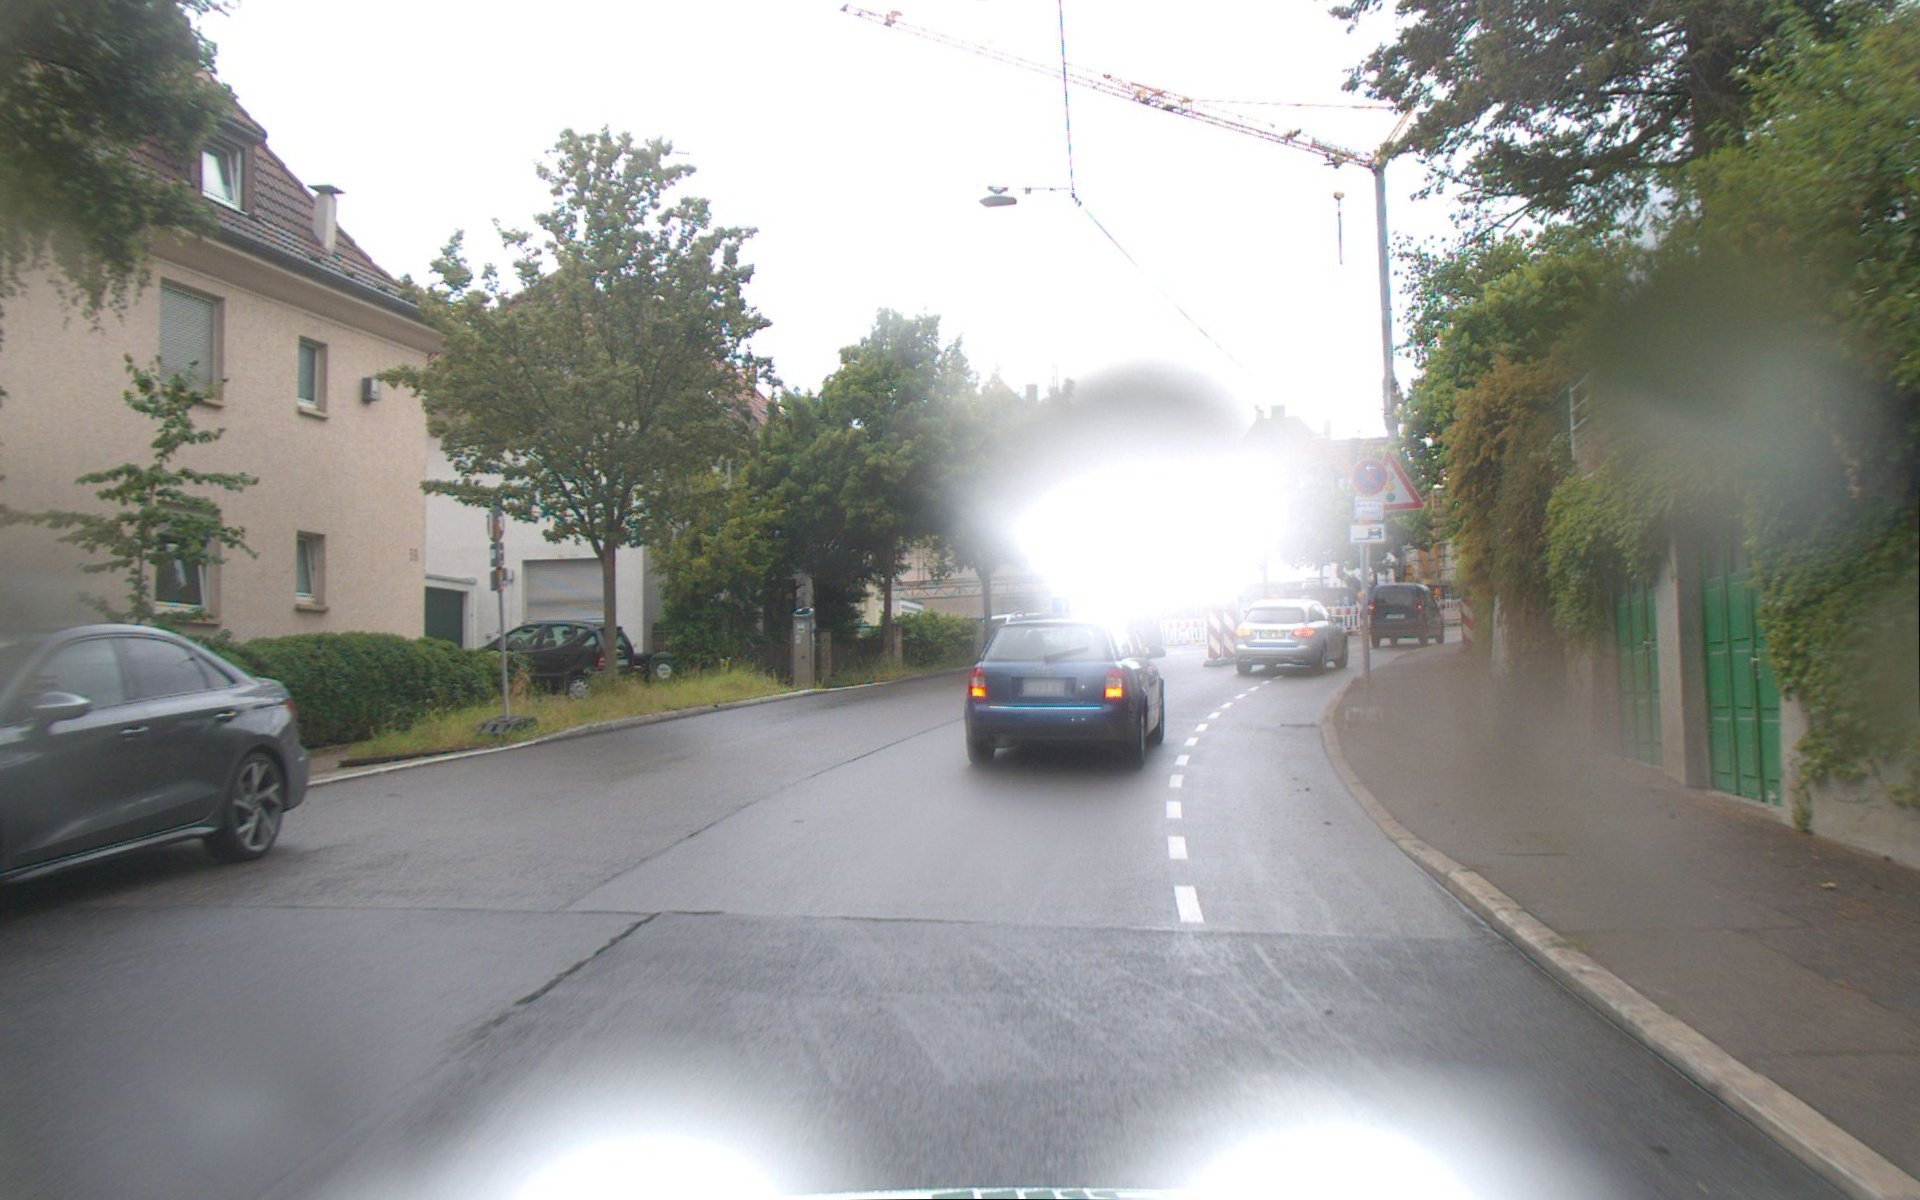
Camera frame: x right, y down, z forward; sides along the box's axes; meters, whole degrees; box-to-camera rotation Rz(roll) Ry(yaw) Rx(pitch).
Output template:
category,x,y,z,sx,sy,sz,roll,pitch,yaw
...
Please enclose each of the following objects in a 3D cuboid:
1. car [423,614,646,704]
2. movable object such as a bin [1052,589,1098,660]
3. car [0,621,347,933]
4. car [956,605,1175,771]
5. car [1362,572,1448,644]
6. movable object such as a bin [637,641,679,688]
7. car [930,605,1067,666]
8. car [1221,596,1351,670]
category,x,y,z,sx,sy,sz,roll,pitch,yaw
car,-8.433,1.137,32.865,3.857,1.570,1.865,2,0,16
movable object such as a bin,4.225,0.896,60.731,1.285,2.549,1.387,-3,-1,19
car,-5.113,0.828,8.728,1.670,1.407,4.533,0,0,6
car,1.195,0.796,16.887,1.739,1.464,4.003,0,0,11
car,13.293,0.230,49.301,1.696,1.927,4.053,-5,-2,24
movable object such as a bin,-6.312,1.343,34.578,0.655,0.937,0.592,0,0,16
car,1.314,1.190,55.427,4.109,1.632,1.951,-6,-3,17
car,6.793,0.647,34.107,1.869,1.413,4.350,-1,0,21
